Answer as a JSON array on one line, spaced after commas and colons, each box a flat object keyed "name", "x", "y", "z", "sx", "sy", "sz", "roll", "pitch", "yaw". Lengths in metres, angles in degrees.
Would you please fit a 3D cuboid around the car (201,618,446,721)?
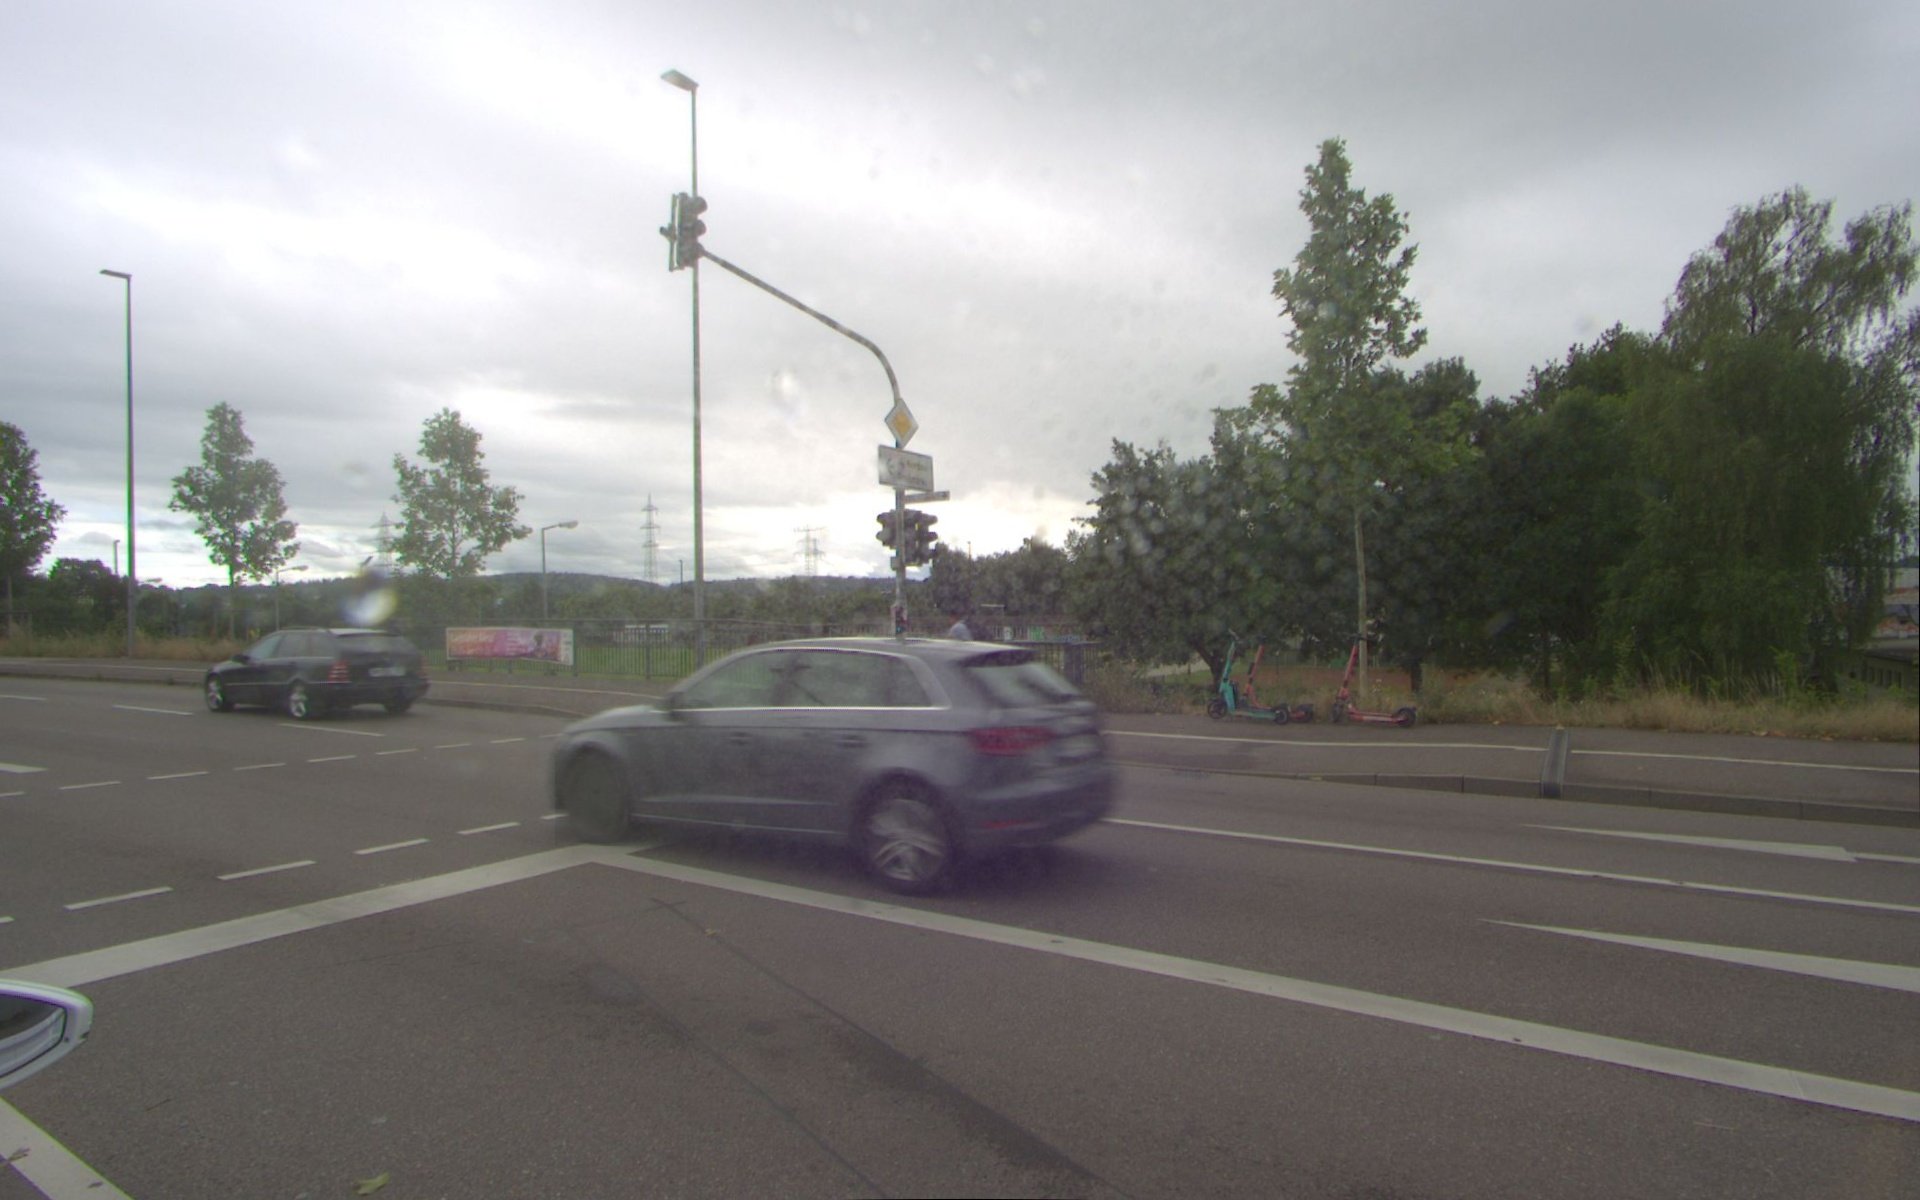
[{"name": "car", "x": -10.747, "y": 1.081, "z": 16.841, "sx": 4.254, "sy": 1.498, "sz": 1.733, "roll": 0, "pitch": -1, "yaw": 30}]

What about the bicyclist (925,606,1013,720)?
[{"name": "bicyclist", "x": 0.128, "y": 0.836, "z": 13.692, "sx": 0.953, "sy": 1.473, "sz": 0.689, "roll": 0, "pitch": 3, "yaw": 30}]

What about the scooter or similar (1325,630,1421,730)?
[{"name": "scooter or similar", "x": 5.335, "y": 1.032, "z": 12.968, "sx": 1.035, "sy": 1.230, "sz": 0.372, "roll": -4, "pitch": -1, "yaw": 40}]

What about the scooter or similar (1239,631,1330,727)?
[{"name": "scooter or similar", "x": 4.491, "y": 1.070, "z": 13.895, "sx": 1.139, "sy": 1.260, "sz": 0.389, "roll": 0, "pitch": 1, "yaw": 35}]

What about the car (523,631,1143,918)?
[{"name": "car", "x": -0.950, "y": 0.946, "z": 6.879, "sx": 4.016, "sy": 1.420, "sz": 1.736, "roll": 0, "pitch": -1, "yaw": 30}]

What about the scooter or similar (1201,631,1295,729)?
[{"name": "scooter or similar", "x": 3.942, "y": 1.067, "z": 13.735, "sx": 1.141, "sy": 1.260, "sz": 0.474, "roll": 0, "pitch": 1, "yaw": 40}]

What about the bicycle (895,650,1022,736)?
[{"name": "bicycle", "x": -0.030, "y": 1.259, "z": 13.820, "sx": 1.683, "sy": 1.060, "sz": 0.546, "roll": 0, "pitch": 2, "yaw": 30}]
